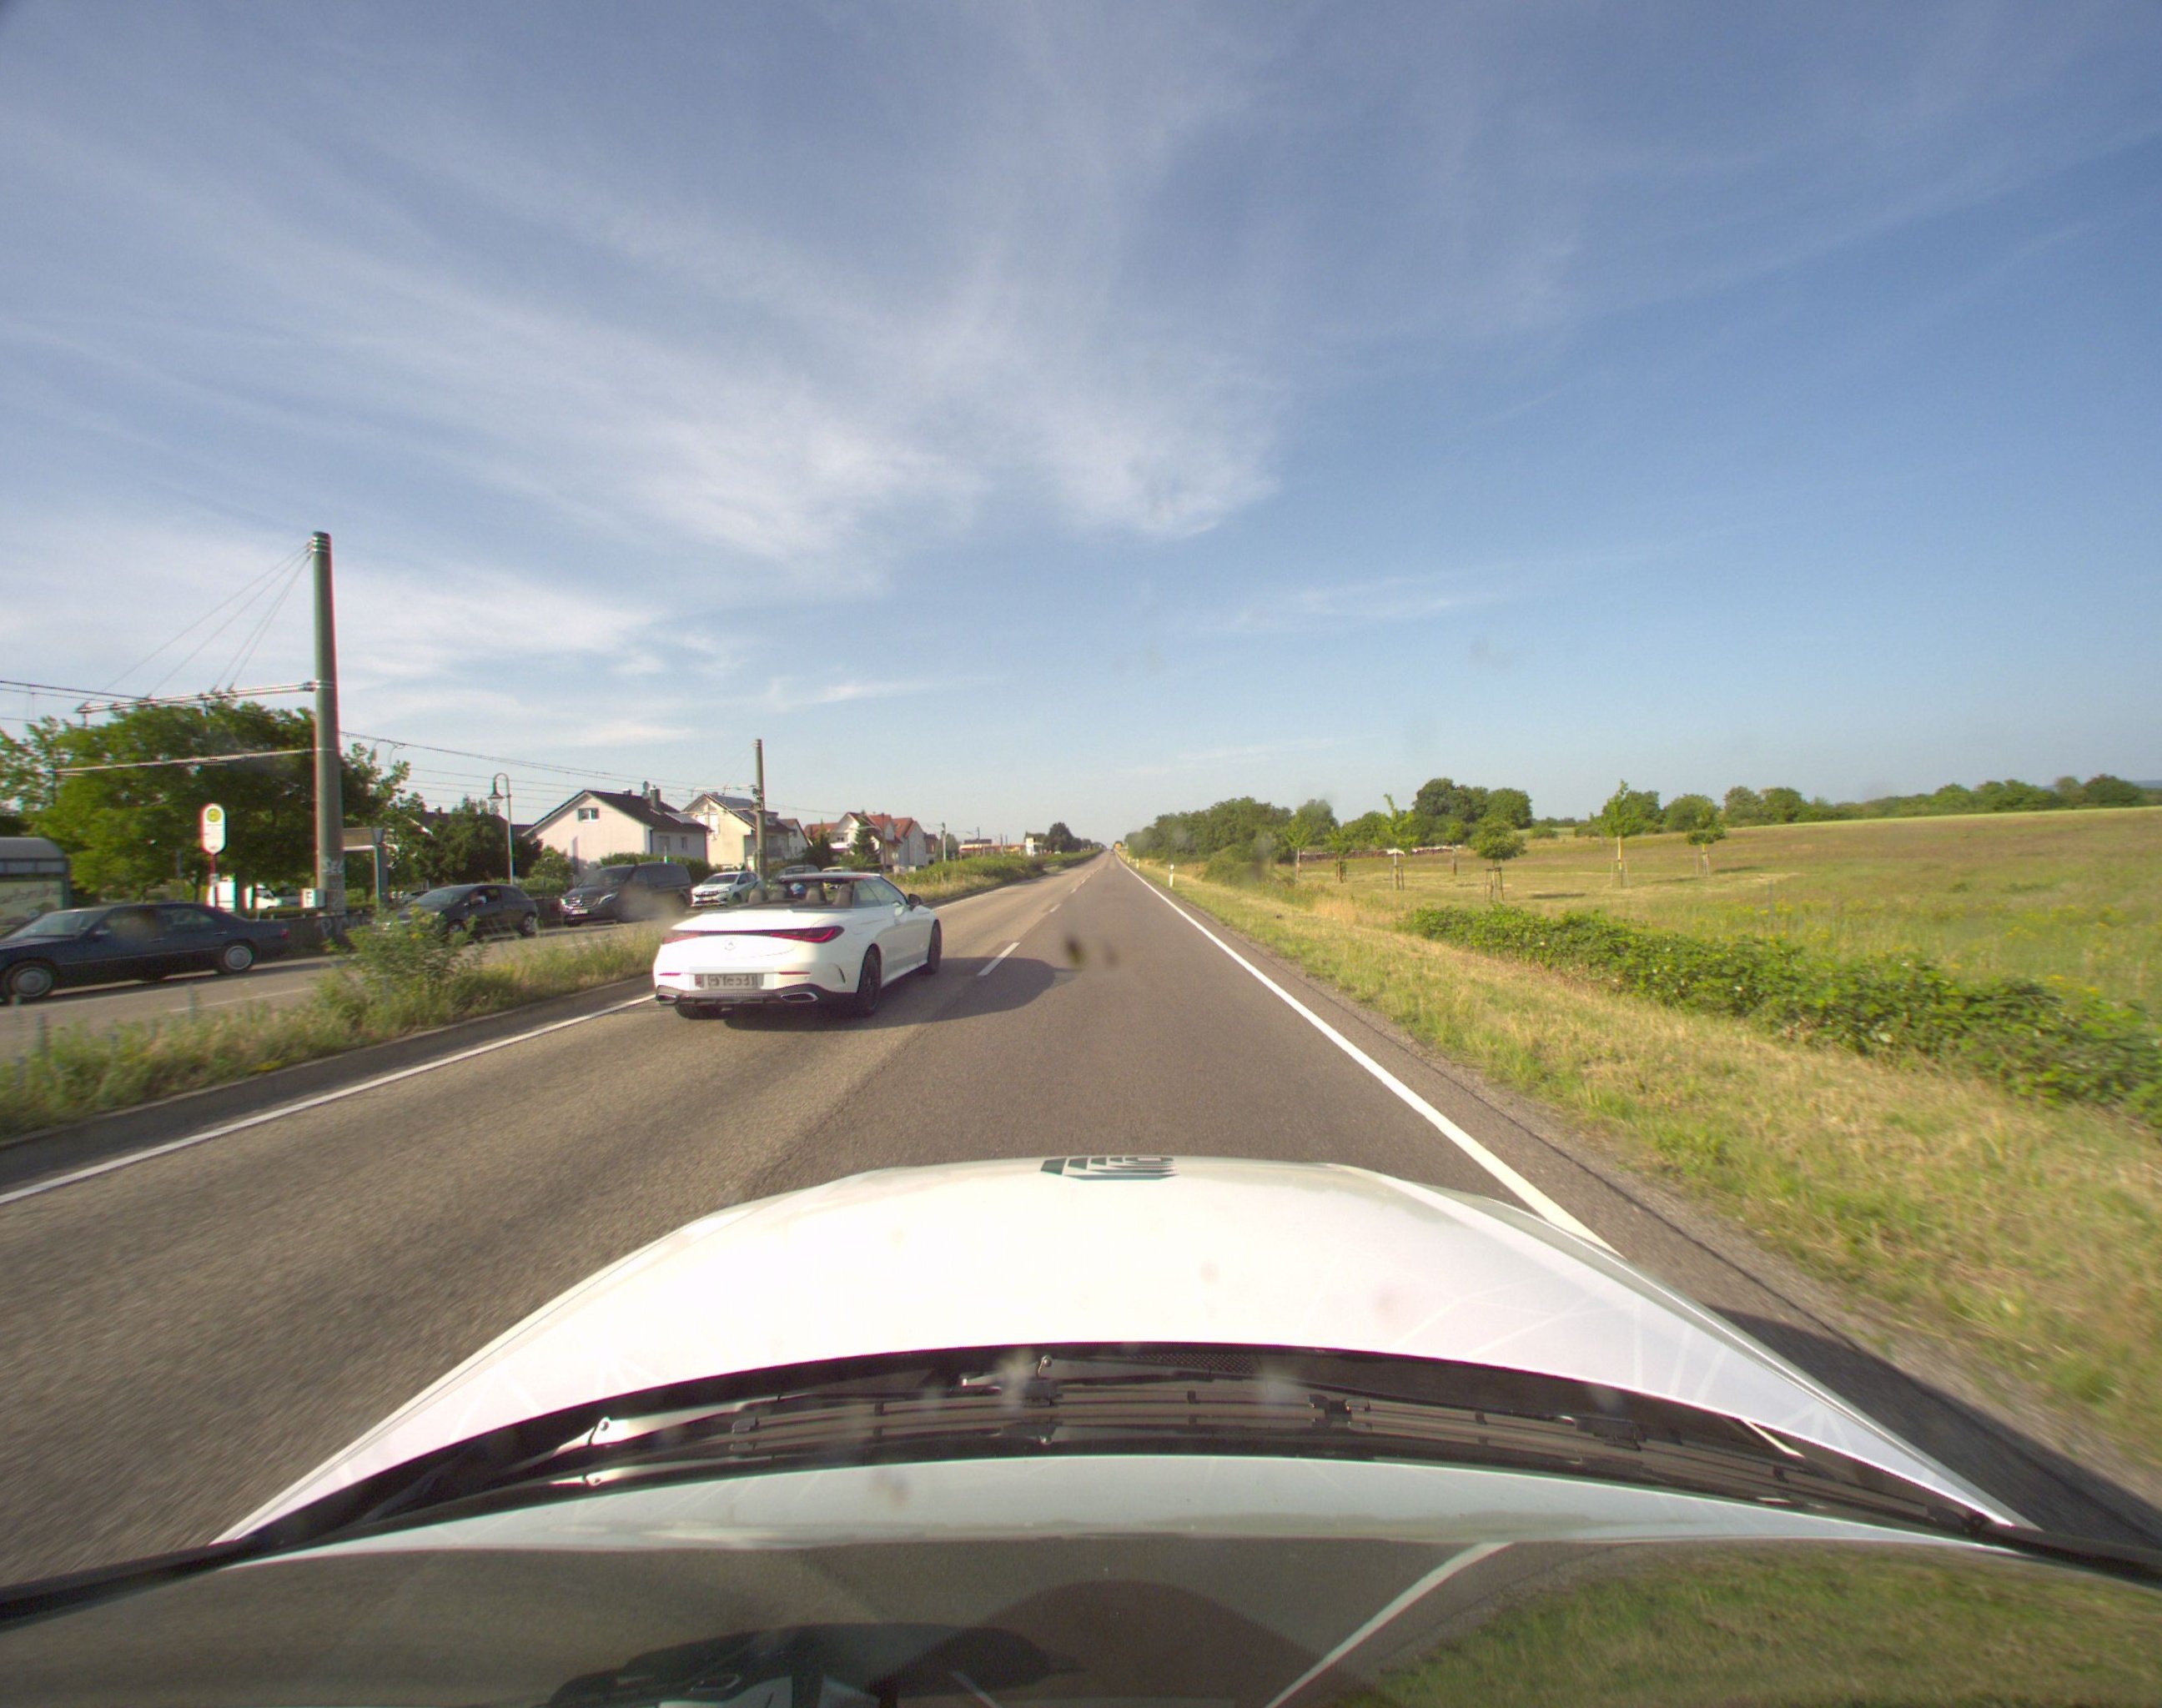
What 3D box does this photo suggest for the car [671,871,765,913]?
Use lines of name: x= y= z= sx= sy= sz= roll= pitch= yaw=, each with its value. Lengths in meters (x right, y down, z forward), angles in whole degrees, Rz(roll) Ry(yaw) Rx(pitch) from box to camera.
car: x=-14.841 y=1.510 z=33.588 sx=1.654 sy=1.431 sz=4.450 roll=-4 pitch=0 yaw=2

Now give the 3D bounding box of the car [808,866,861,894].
car: x=-14.688 y=1.536 z=48.731 sx=1.654 sy=1.431 sz=4.328 roll=-4 pitch=0 yaw=2

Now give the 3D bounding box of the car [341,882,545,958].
car: x=-15.479 y=1.532 z=20.069 sx=1.654 sy=1.431 sz=4.058 roll=-4 pitch=0 yaw=2

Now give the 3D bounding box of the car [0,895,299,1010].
car: x=-16.209 y=1.566 z=13.540 sx=1.654 sy=1.431 sz=4.719 roll=-4 pitch=0 yaw=2

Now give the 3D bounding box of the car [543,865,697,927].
car: x=-15.136 y=1.305 z=27.179 sx=1.908 sy=1.683 sz=5.256 roll=-4 pitch=0 yaw=2

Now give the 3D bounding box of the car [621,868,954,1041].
car: x=-2.815 y=0.872 z=9.189 sx=1.764 sy=1.337 sz=4.953 roll=-1 pitch=0 yaw=2

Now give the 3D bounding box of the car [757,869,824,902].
car: x=-14.766 y=1.579 z=41.637 sx=1.654 sy=1.431 sz=4.328 roll=-4 pitch=0 yaw=2
